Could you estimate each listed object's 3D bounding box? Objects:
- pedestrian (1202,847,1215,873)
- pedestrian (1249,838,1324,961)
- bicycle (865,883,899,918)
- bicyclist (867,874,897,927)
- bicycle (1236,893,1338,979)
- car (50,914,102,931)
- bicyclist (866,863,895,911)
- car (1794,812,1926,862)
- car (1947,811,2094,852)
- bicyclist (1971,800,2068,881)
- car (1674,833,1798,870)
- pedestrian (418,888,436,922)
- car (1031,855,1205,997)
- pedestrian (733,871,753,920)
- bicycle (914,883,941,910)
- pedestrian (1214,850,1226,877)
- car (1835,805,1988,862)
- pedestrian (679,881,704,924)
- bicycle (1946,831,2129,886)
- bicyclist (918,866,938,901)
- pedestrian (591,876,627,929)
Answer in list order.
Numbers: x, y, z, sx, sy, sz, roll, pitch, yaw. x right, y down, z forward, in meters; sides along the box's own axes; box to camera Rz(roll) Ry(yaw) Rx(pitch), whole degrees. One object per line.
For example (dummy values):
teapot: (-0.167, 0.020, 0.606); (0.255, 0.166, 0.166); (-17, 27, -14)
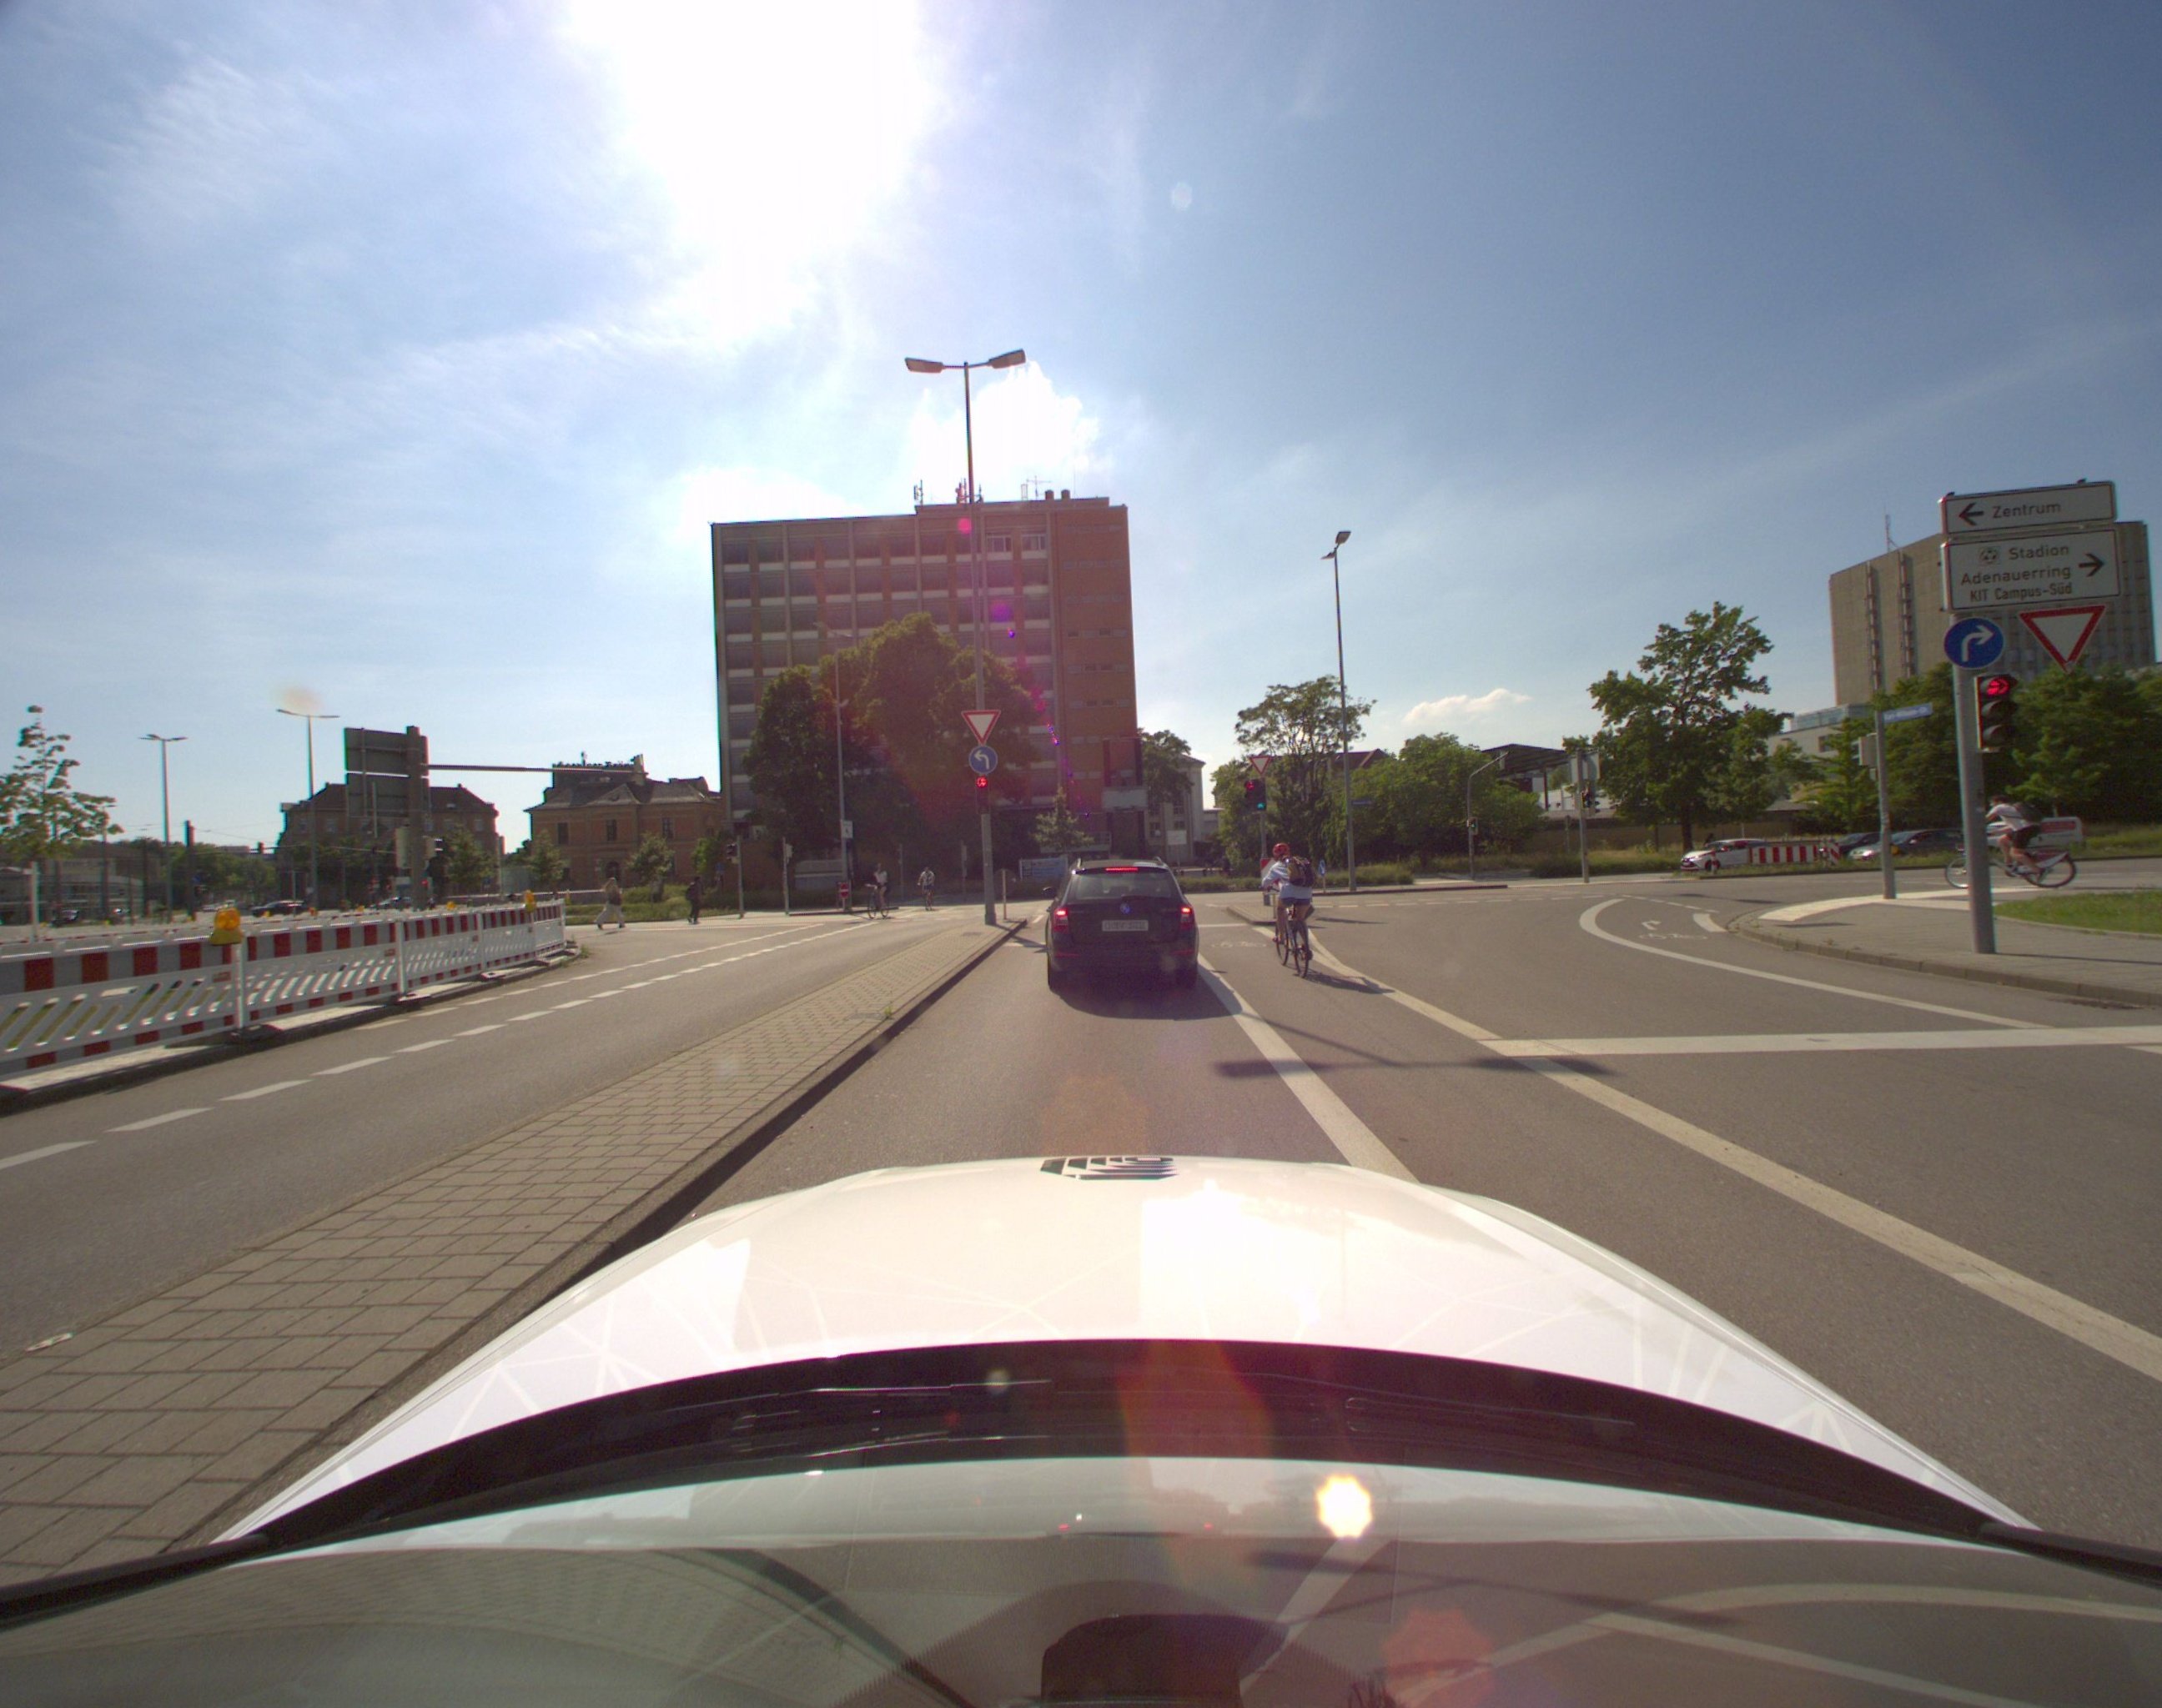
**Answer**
pedestrian: (9.286, 0.449, 59.320); (0.591, 1.874, 0.642); (-4, 0, 25)
pedestrian: (2.590, 0.556, 10.348); (0.582, 1.466, 1.011); (-1, -1, -6)
bicycle: (-6.385, 1.477, 26.160); (0.617, 0.961, 1.966); (-5, 0, -3)
bicyclist: (-6.385, 1.477, 26.160); (0.617, 1.581, 1.013); (-5, -1, -3)
bicycle: (2.593, 0.999, 10.486); (0.595, 0.931, 2.024); (-1, -1, -6)
car: (-119.982, 8.127, 97.256); (1.646, 1.717, 3.984); (-3, -1, -11)
bicyclist: (-6.423, 1.048, 26.165); (0.617, 1.443, 0.919); (-5, -1, -3)
car: (35.585, -0.767, 37.308); (3.970, 2.013, 2.002); (-3, 0, 3)
car: (41.910, -0.992, 36.414); (4.294, 1.569, 1.910); (-3, 0, 1)
bicyclist: (17.605, -0.234, 15.310); (0.499, 1.470, 1.129); (1, -2, -42)
car: (29.896, -0.082, 37.278); (3.973, 1.464, 2.000); (-3, -2, 1)
pedestrian: (-40.339, 3.134, 50.214); (0.622, 2.013, 0.525); (-3, -1, 13)
car: (0.460, 0.757, 10.347); (1.773, 1.443, 3.820); (-1, 0, 2)
pedestrian: (-14.123, 1.736, 34.016); (0.618, 2.014, 0.679); (0, -2, -36)
bicycle: (-6.336, 1.753, 33.762); (0.702, 0.977, 2.030); (-3, 0, 0)
pedestrian: (9.922, 0.665, 58.049); (0.634, 1.874, 0.797); (-4, 0, 1)
car: (34.269, -0.806, 33.715); (3.966, 2.014, 2.004); (-3, -3, 7)
pedestrian: (-14.032, 1.743, 29.369); (0.632, 1.491, 0.614); (-3, -1, -15)
bicycle: (17.740, 0.108, 15.193); (0.678, 0.916, 2.143); (-3, -1, -41)
bicyclist: (-6.338, 1.219, 33.728); (0.537, 1.417, 1.030); (-4, -1, 0)
pedestrian: (-16.301, 1.673, 28.122); (0.737, 1.752, 1.105); (-3, -3, -14)
